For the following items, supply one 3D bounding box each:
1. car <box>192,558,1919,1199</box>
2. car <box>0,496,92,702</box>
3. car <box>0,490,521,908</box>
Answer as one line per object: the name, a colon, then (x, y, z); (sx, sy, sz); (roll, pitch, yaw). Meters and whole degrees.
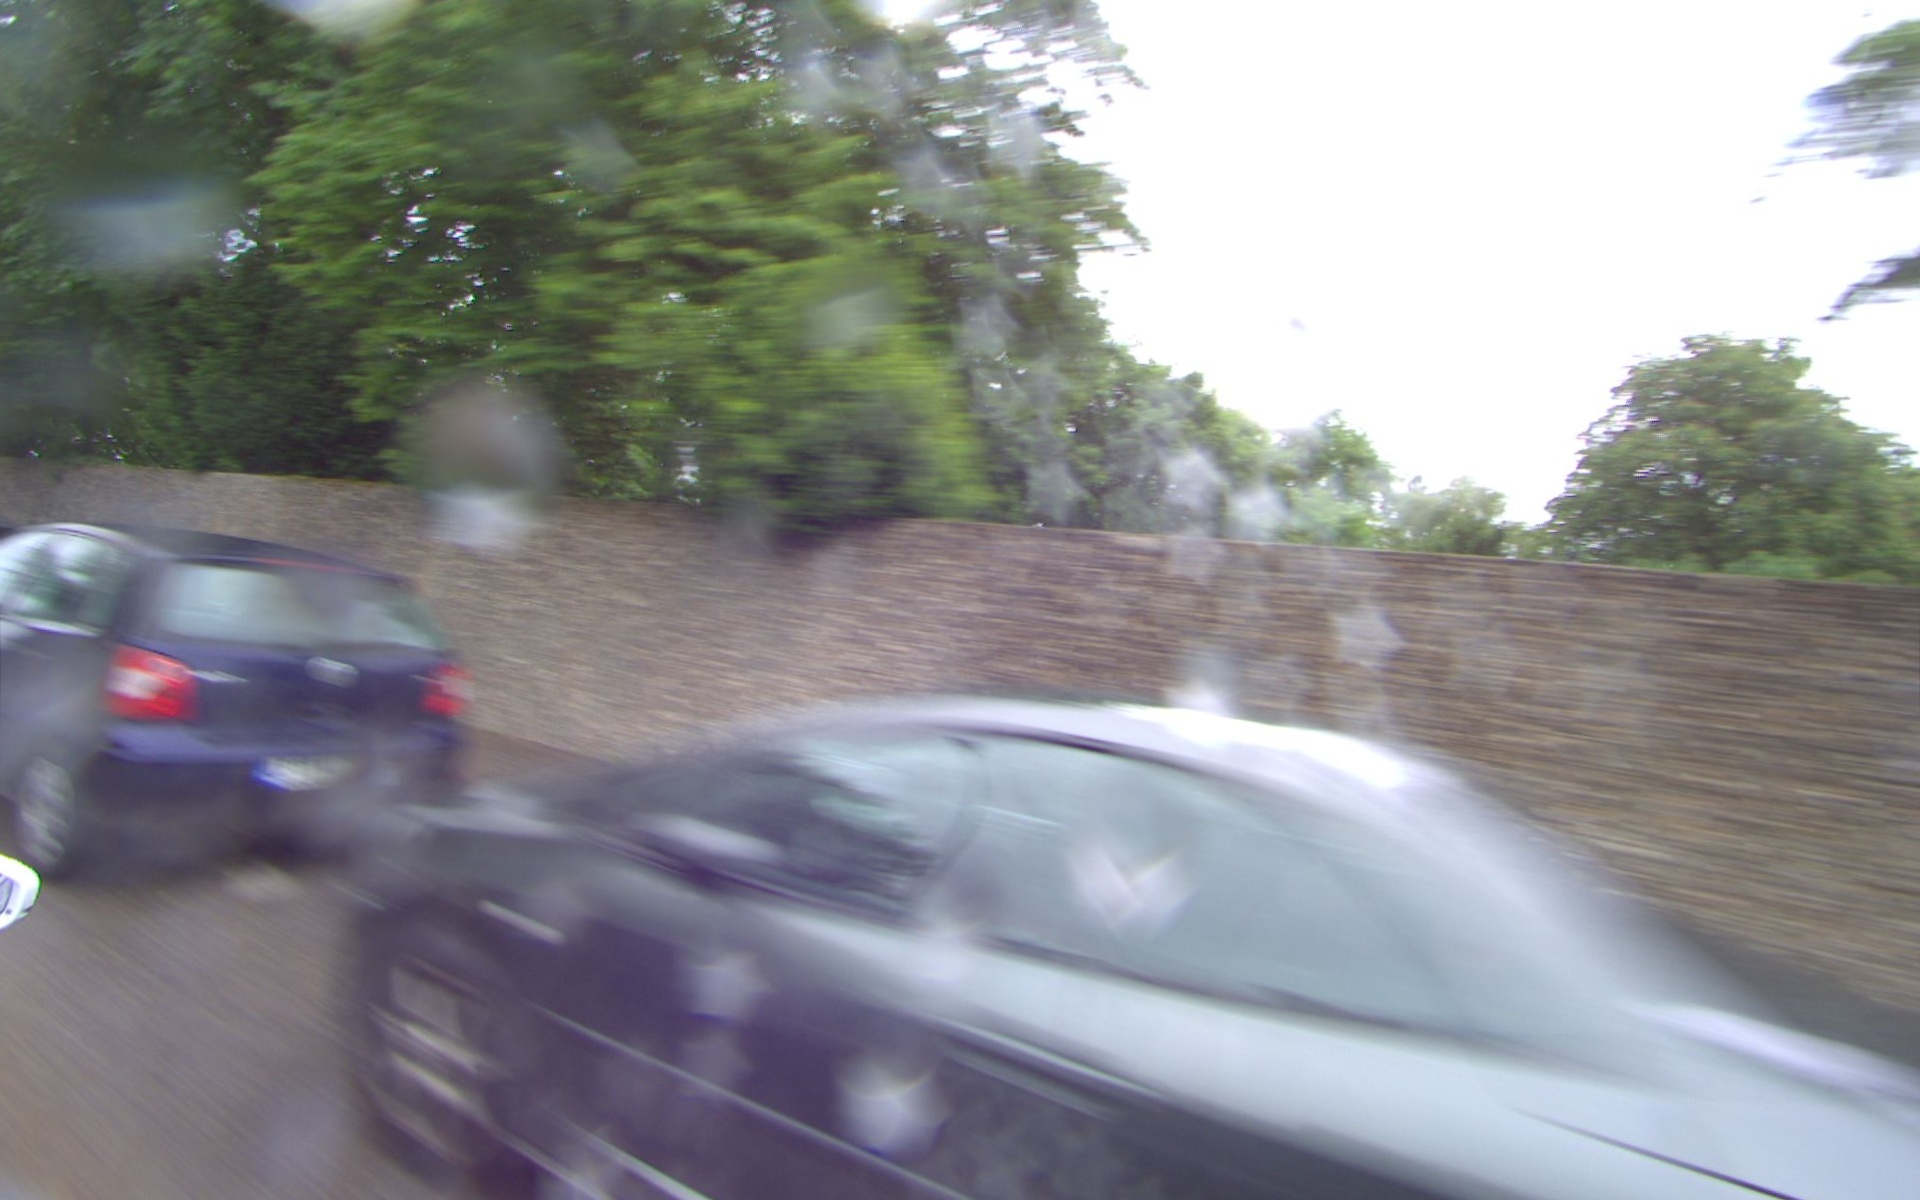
car: (0.044, 0.860, 2.612); (4.110, 1.387, 1.656); (7, -2, 30)
car: (-9.104, -0.219, 8.282); (4.176, 1.513, 1.652); (5, -4, 32)
car: (-4.294, 0.332, 5.363); (3.648, 1.513, 1.652); (5, -4, 32)
